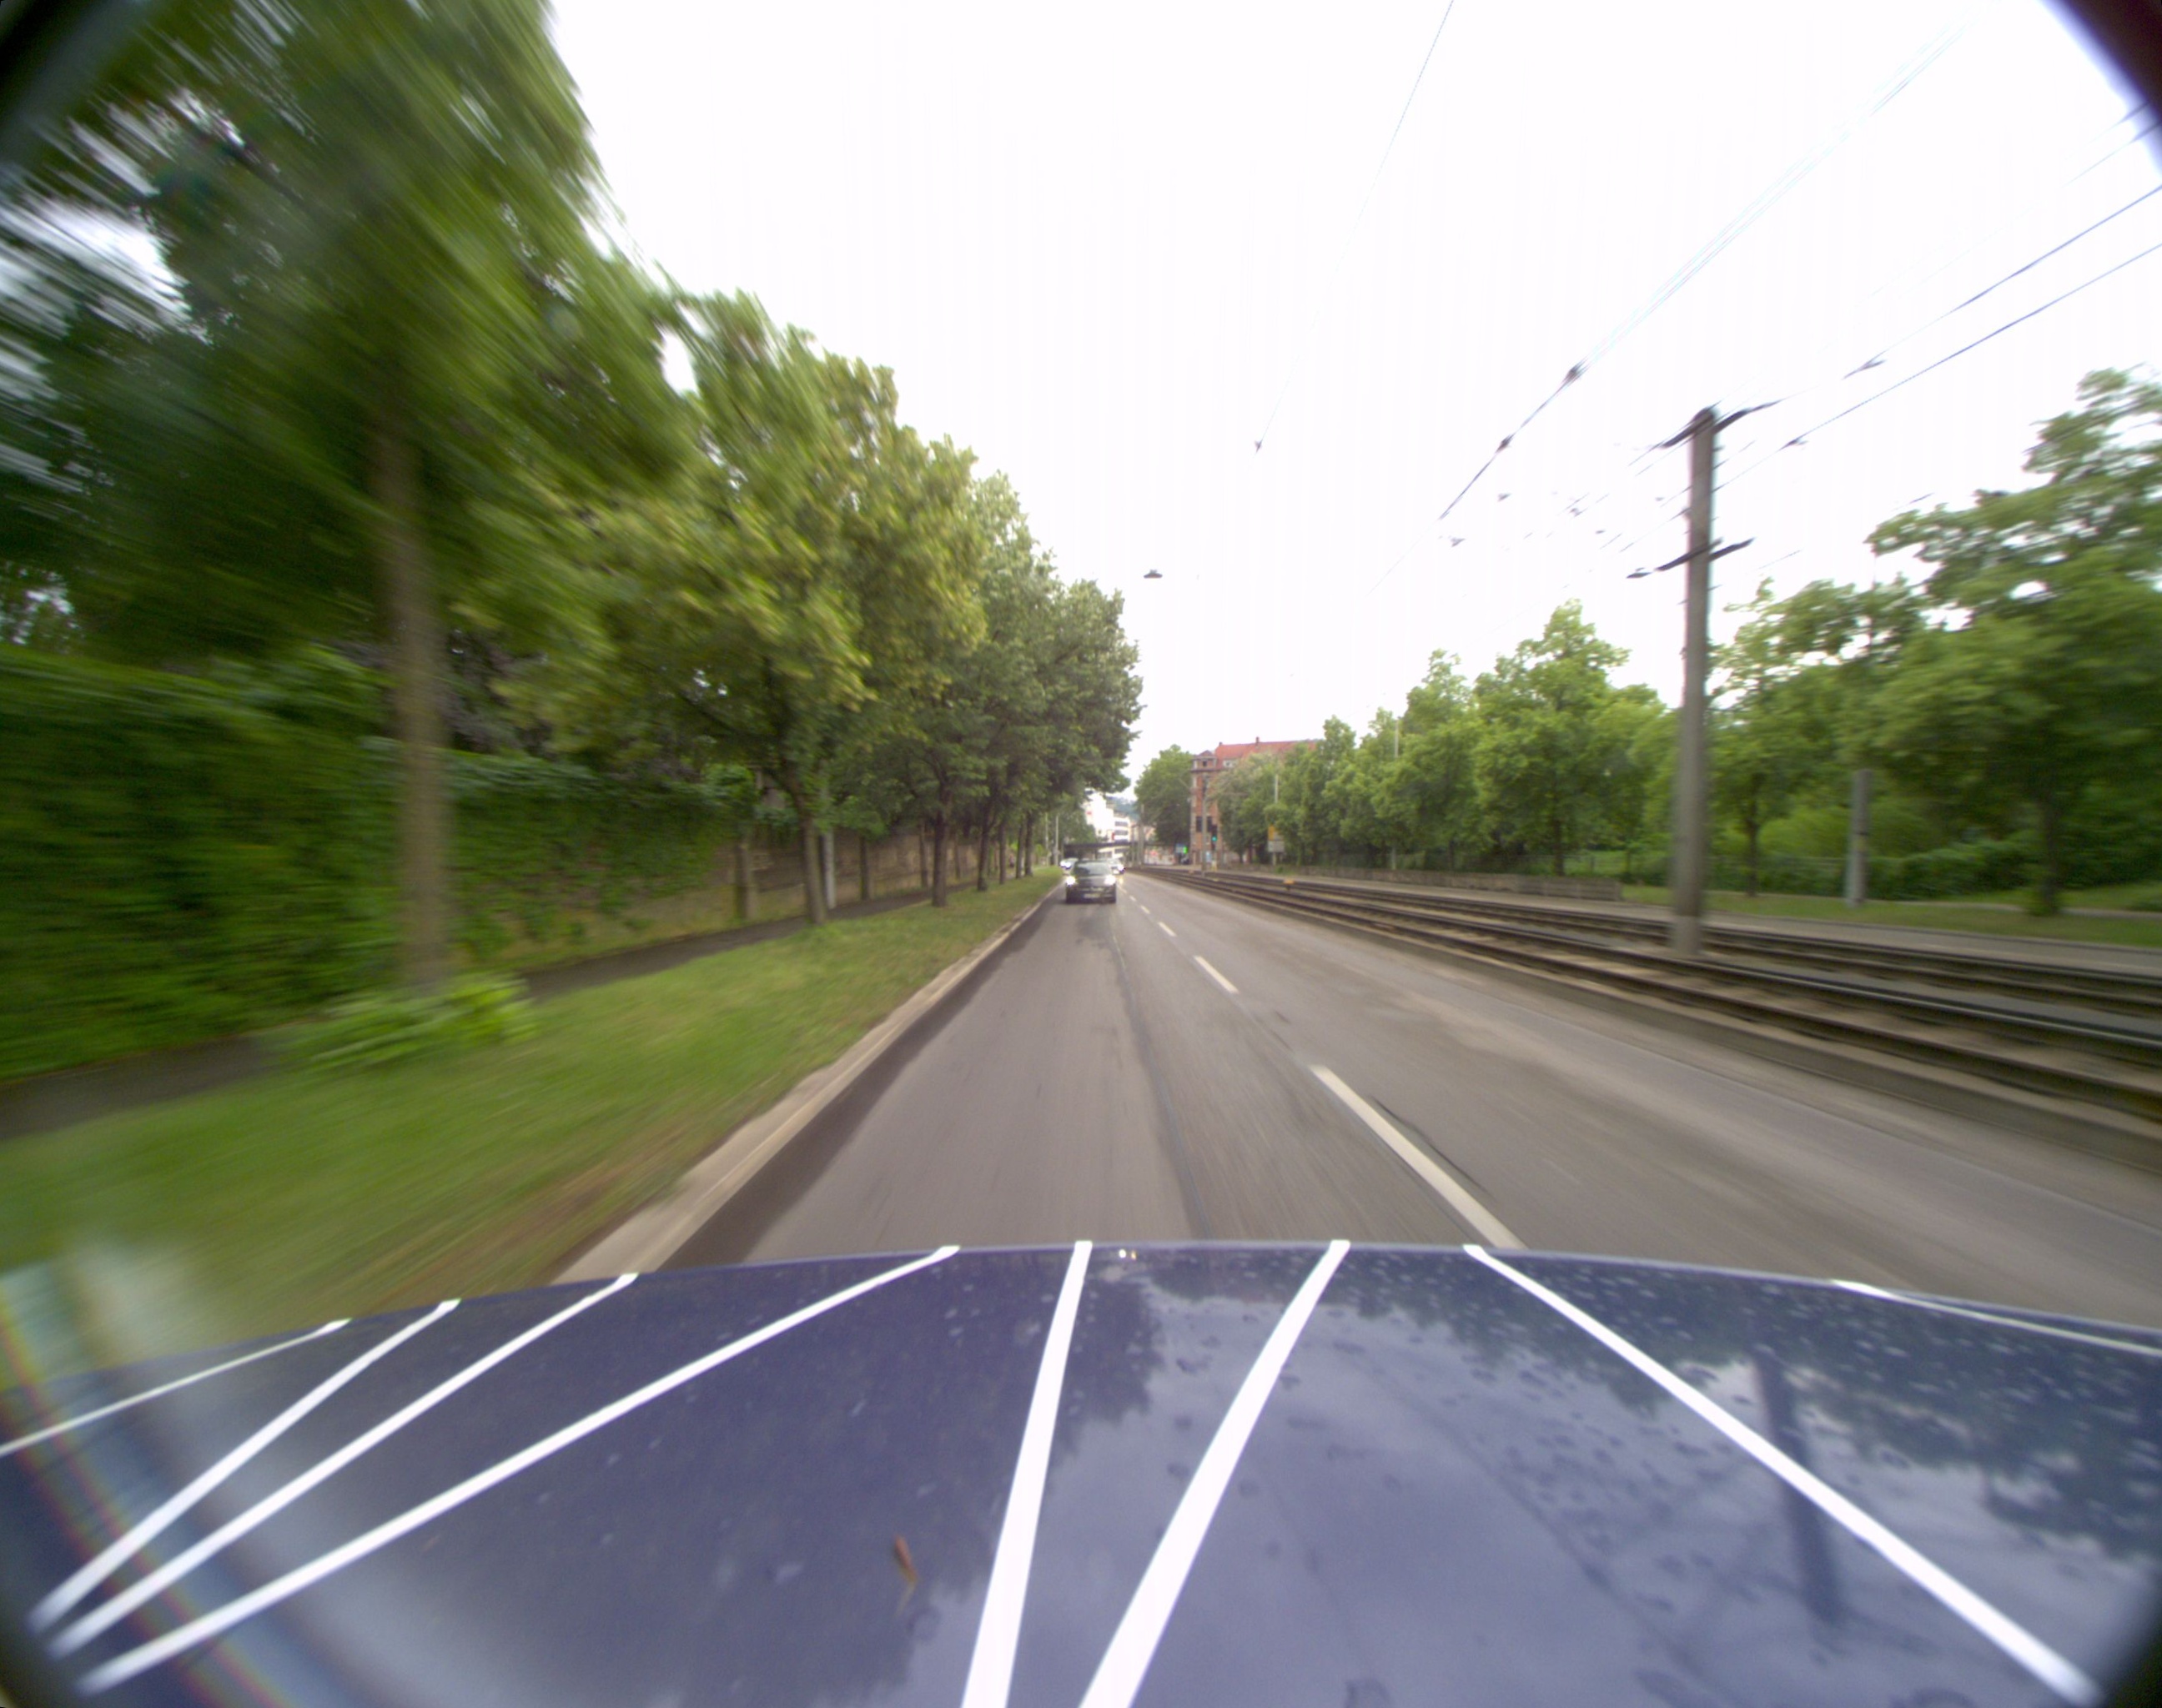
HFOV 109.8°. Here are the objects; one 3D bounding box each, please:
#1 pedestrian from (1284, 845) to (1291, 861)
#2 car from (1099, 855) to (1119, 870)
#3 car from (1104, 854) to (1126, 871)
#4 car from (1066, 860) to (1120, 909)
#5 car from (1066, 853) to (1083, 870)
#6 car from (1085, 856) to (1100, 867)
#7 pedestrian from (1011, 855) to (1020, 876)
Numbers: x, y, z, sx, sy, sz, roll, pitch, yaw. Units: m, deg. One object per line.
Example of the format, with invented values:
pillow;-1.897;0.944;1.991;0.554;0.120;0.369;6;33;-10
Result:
pedestrian;24.705;-0.098;90.819;0.597;1.891;0.654;-1;1;-3
car;2.986;0.899;81.845;1.807;1.484;4.100;-2;2;-2
car;3.128;0.739;69.874;1.806;1.483;4.102;0;0;0
car;0.364;0.950;25.441;1.658;1.483;3.829;0;0;0
car;-0.816;0.914;96.430;1.998;2.002;4.000;-1;0;1
car;1.869;1.270;126.469;2.000;1.801;3.997;-1;0;-6
pedestrian;-5.531;0.947;64.201;0.710;1.769;0.901;0;0;-2
